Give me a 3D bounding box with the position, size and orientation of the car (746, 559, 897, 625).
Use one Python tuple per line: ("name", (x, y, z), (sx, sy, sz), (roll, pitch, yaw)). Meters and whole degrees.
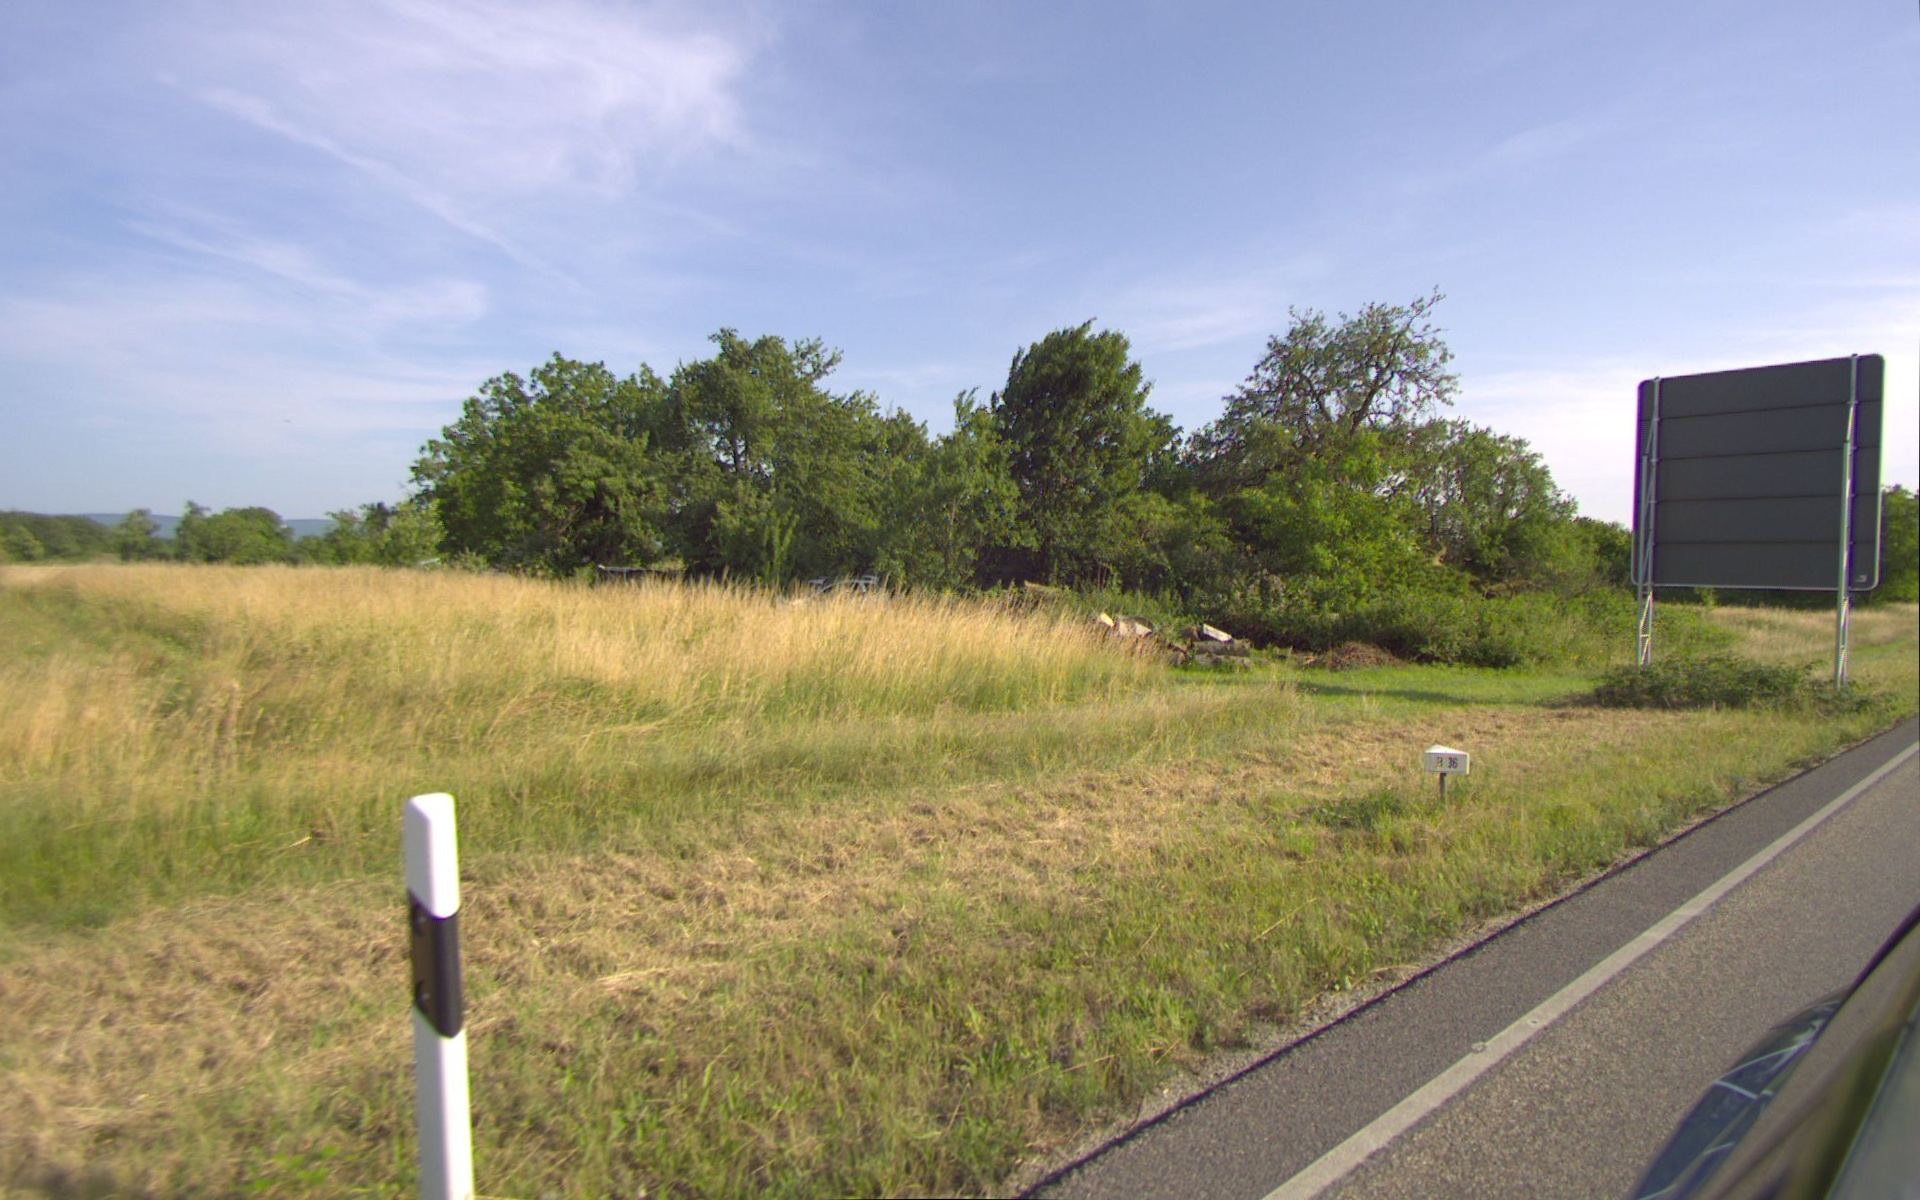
("car", (-3.987, -0.232, 29.435), (3.930, 1.772, 1.997), (0, 0, -41))
